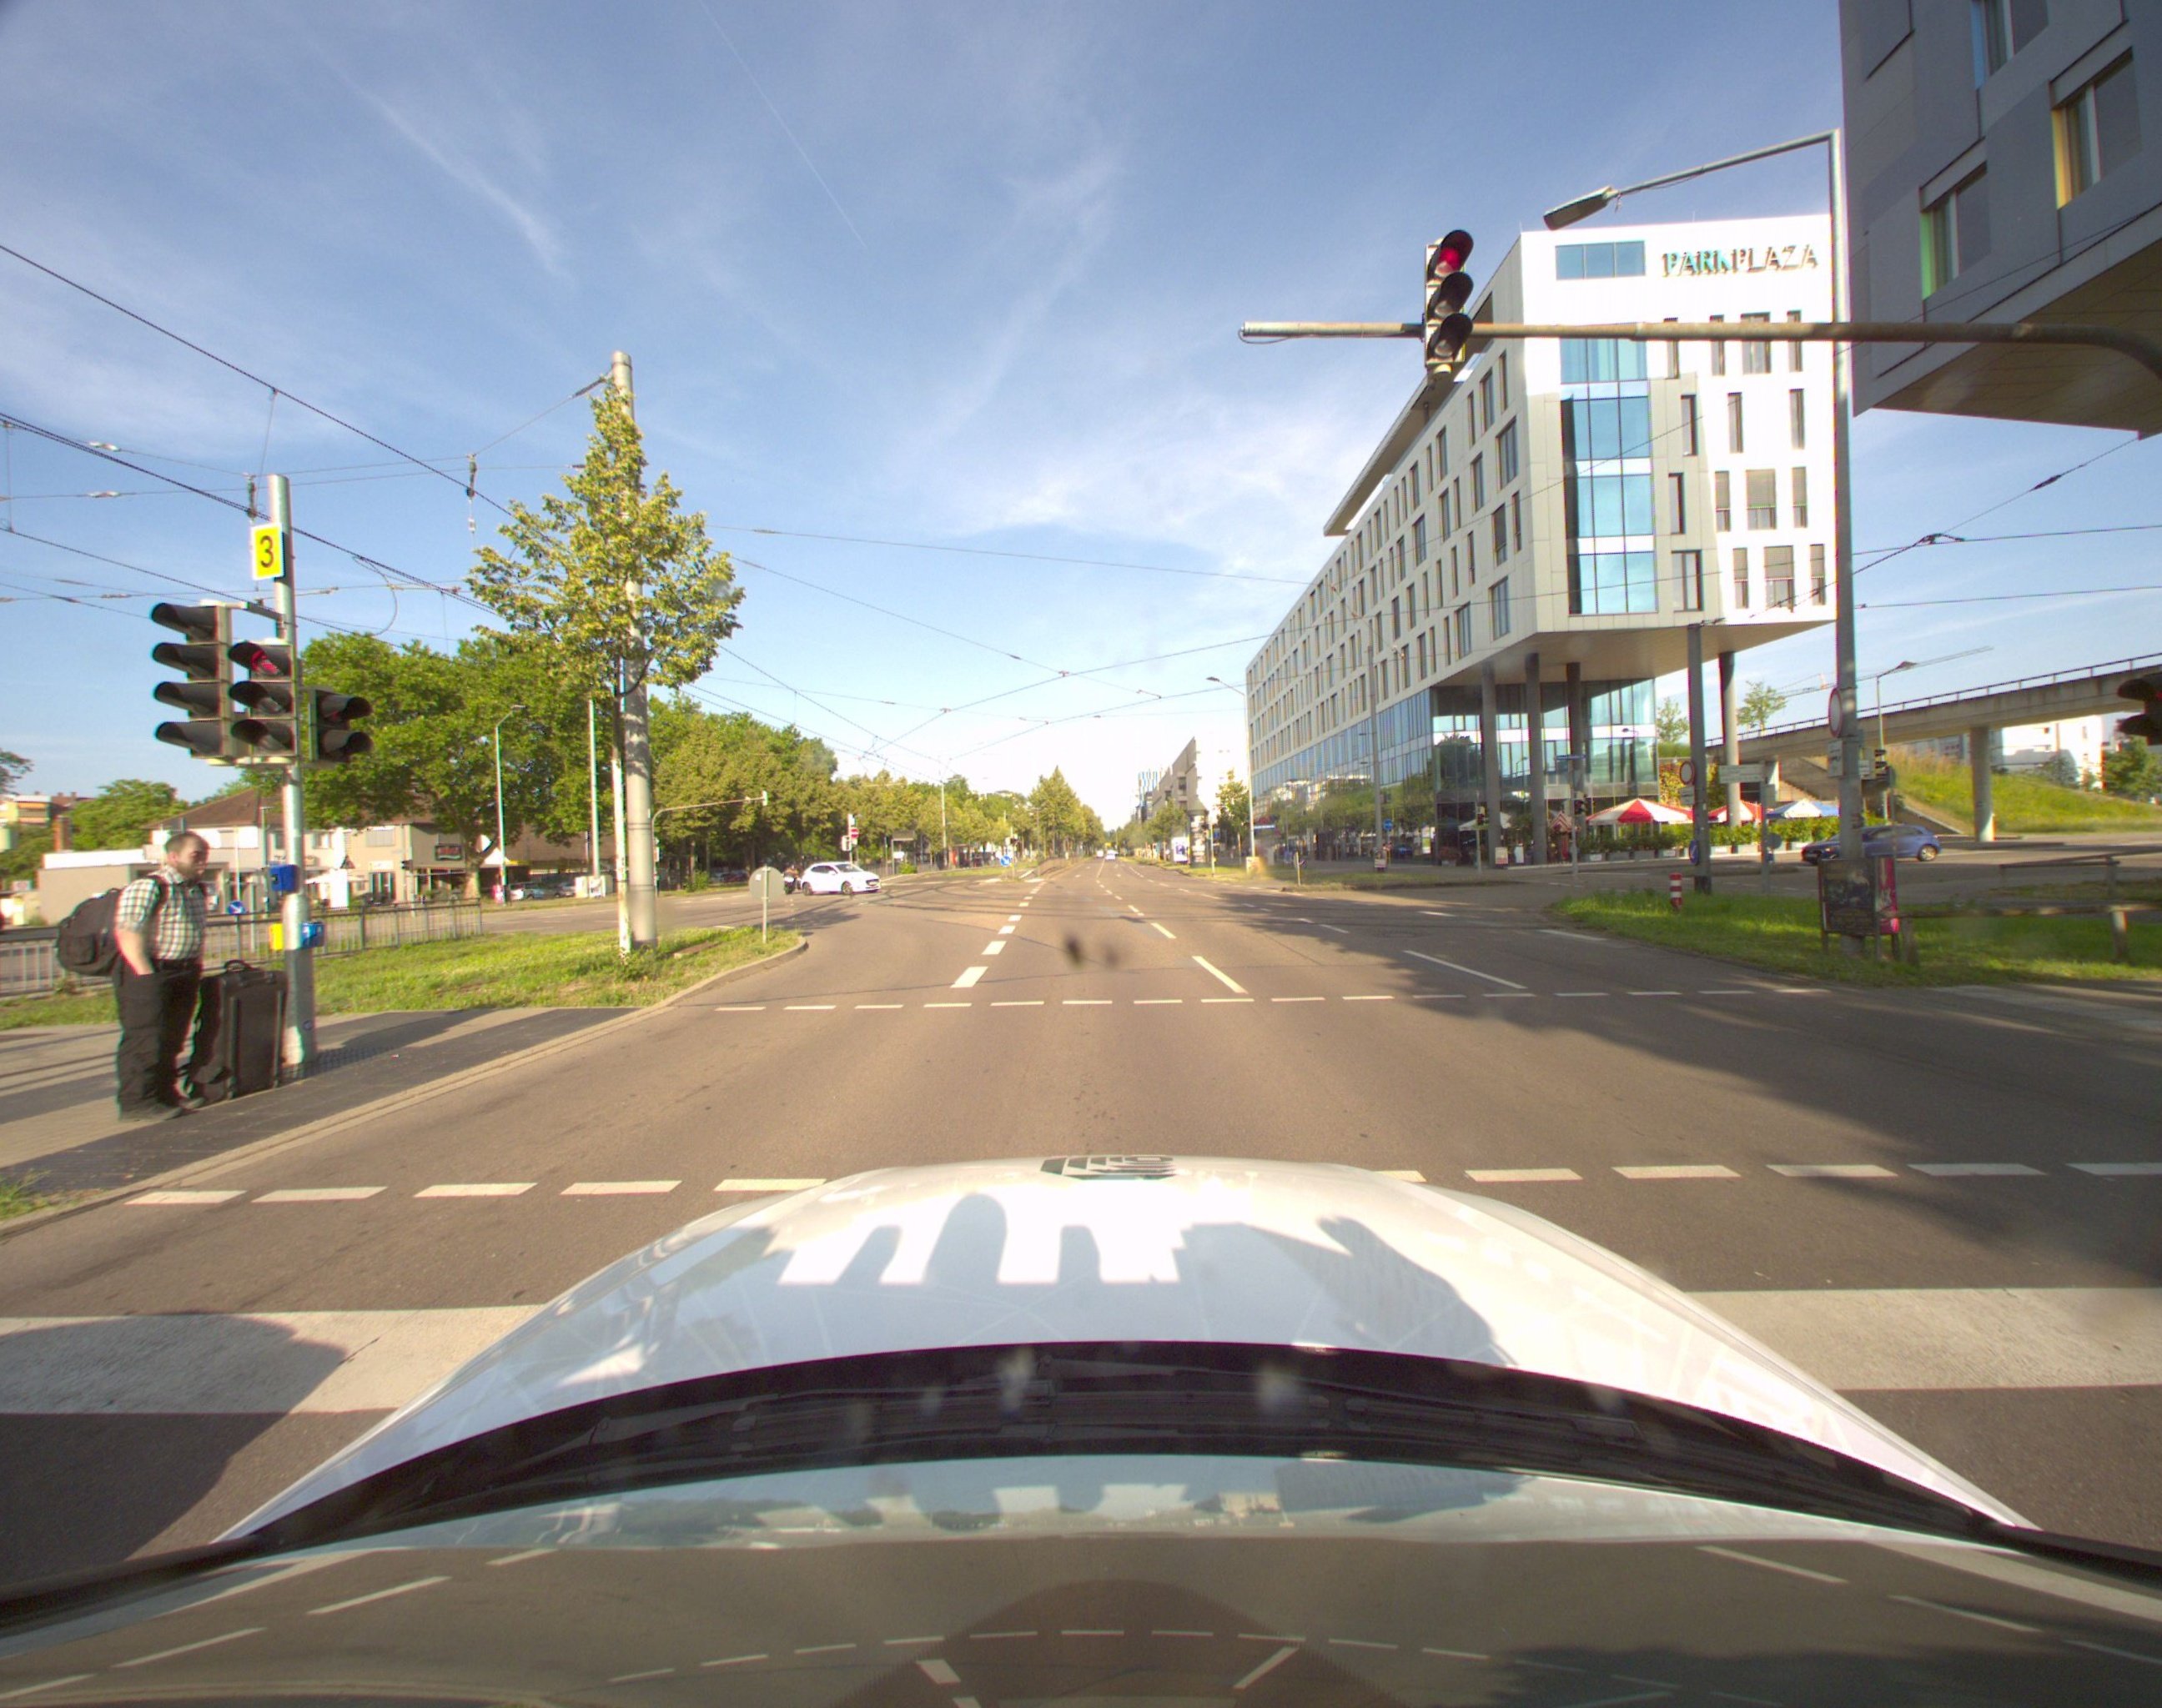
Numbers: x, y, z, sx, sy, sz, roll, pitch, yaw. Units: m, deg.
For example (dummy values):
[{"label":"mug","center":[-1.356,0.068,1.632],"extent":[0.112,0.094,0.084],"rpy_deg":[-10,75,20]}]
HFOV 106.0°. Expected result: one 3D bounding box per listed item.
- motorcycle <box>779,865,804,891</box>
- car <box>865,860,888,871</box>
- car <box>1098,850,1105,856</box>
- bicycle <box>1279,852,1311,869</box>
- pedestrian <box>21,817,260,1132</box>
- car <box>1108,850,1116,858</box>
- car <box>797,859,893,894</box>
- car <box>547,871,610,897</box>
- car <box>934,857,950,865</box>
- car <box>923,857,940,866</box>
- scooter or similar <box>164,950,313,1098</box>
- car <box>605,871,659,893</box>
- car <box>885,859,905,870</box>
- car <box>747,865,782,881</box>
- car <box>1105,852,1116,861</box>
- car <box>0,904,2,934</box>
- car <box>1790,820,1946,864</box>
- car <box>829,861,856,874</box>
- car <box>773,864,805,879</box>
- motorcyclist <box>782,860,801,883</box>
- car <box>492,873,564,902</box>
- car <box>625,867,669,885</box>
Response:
[{"label":"motorcycle","center":[-15.114,1.219,42.586],"extent":[0.819,1.263,2.540],"rpy_deg":[-1,0,-10]},{"label":"car","center":[-30.665,1.725,122.109],"extent":[1.871,1.559,4.008],"rpy_deg":[-3,0,7]},{"label":"car","center":[5.567,-0.262,220.250],"extent":[2.007,1.684,4.003],"rpy_deg":[0,1,2]},{"label":"bicycle","center":[13.863,0.393,52.795],"extent":[0.778,1.032,1.856],"rpy_deg":[-2,2,-42]},{"label":"pedestrian","center":[-5.683,0.687,4.958],"extent":[0.697,1.792,0.636],"rpy_deg":[-1,0,2]},{"label":"car","center":[6.905,0.052,182.164],"extent":[1.857,1.684,4.003],"rpy_deg":[0,1,2]},{"label":"car","center":[-10.822,1.029,37.306],"extent":[4.040,1.504,2.012],"rpy_deg":[-1,0,30]},{"label":"car","center":[-37.710,2.240,61.197],"extent":[1.871,1.750,4.008],"rpy_deg":[-3,0,7]},{"label":"car","center":[-26.788,1.323,156.812],"extent":[1.871,1.559,4.008],"rpy_deg":[-3,0,7]},{"label":"car","center":[-27.540,1.392,150.401],"extent":[1.871,1.559,4.008],"rpy_deg":[-3,0,7]},{"label":"scooter or similar","center":[-5.663,1.128,5.494],"extent":[0.546,0.907,0.430],"rpy_deg":[-1,0,2]},{"label":"car","center":[-37.020,2.270,67.240],"extent":[1.871,1.559,4.008],"rpy_deg":[-3,0,7]},{"label":"car","center":[-29.700,1.637,130.014],"extent":[1.871,1.559,4.008],"rpy_deg":[-3,0,7]},{"label":"car","center":[-34.745,2.032,89.596],"extent":[1.871,1.559,4.008],"rpy_deg":[-3,0,7]},{"label":"car","center":[5.414,0.472,148.654],"extent":[1.857,1.684,4.003],"rpy_deg":[0,1,2]},{"label":"car","center":[-63.529,3.792,45.637],"extent":[3.964,1.728,2.005],"rpy_deg":[-2,0,8]},{"label":"car","center":[30.234,-0.468,31.375],"extent":[4.170,1.424,1.859],"rpy_deg":[-3,0,1]},{"label":"car","center":[-32.098,1.770,109.653],"extent":[1.871,1.559,4.008],"rpy_deg":[-3,0,7]},{"label":"car","center":[-34.055,2.057,95.155],"extent":[1.871,1.559,4.008],"rpy_deg":[-3,0,7]},{"label":"motorcyclist","center":[-15.131,0.908,42.540],"extent":[0.782,1.202,0.844],"rpy_deg":[0,0,-11]},{"label":"car","center":[-38.227,2.291,56.447],"extent":[1.871,1.750,4.008],"rpy_deg":[-3,0,7]},{"label":"car","center":[-43.780,2.213,82.157],"extent":[1.871,1.559,4.008],"rpy_deg":[-3,0,7]}]
